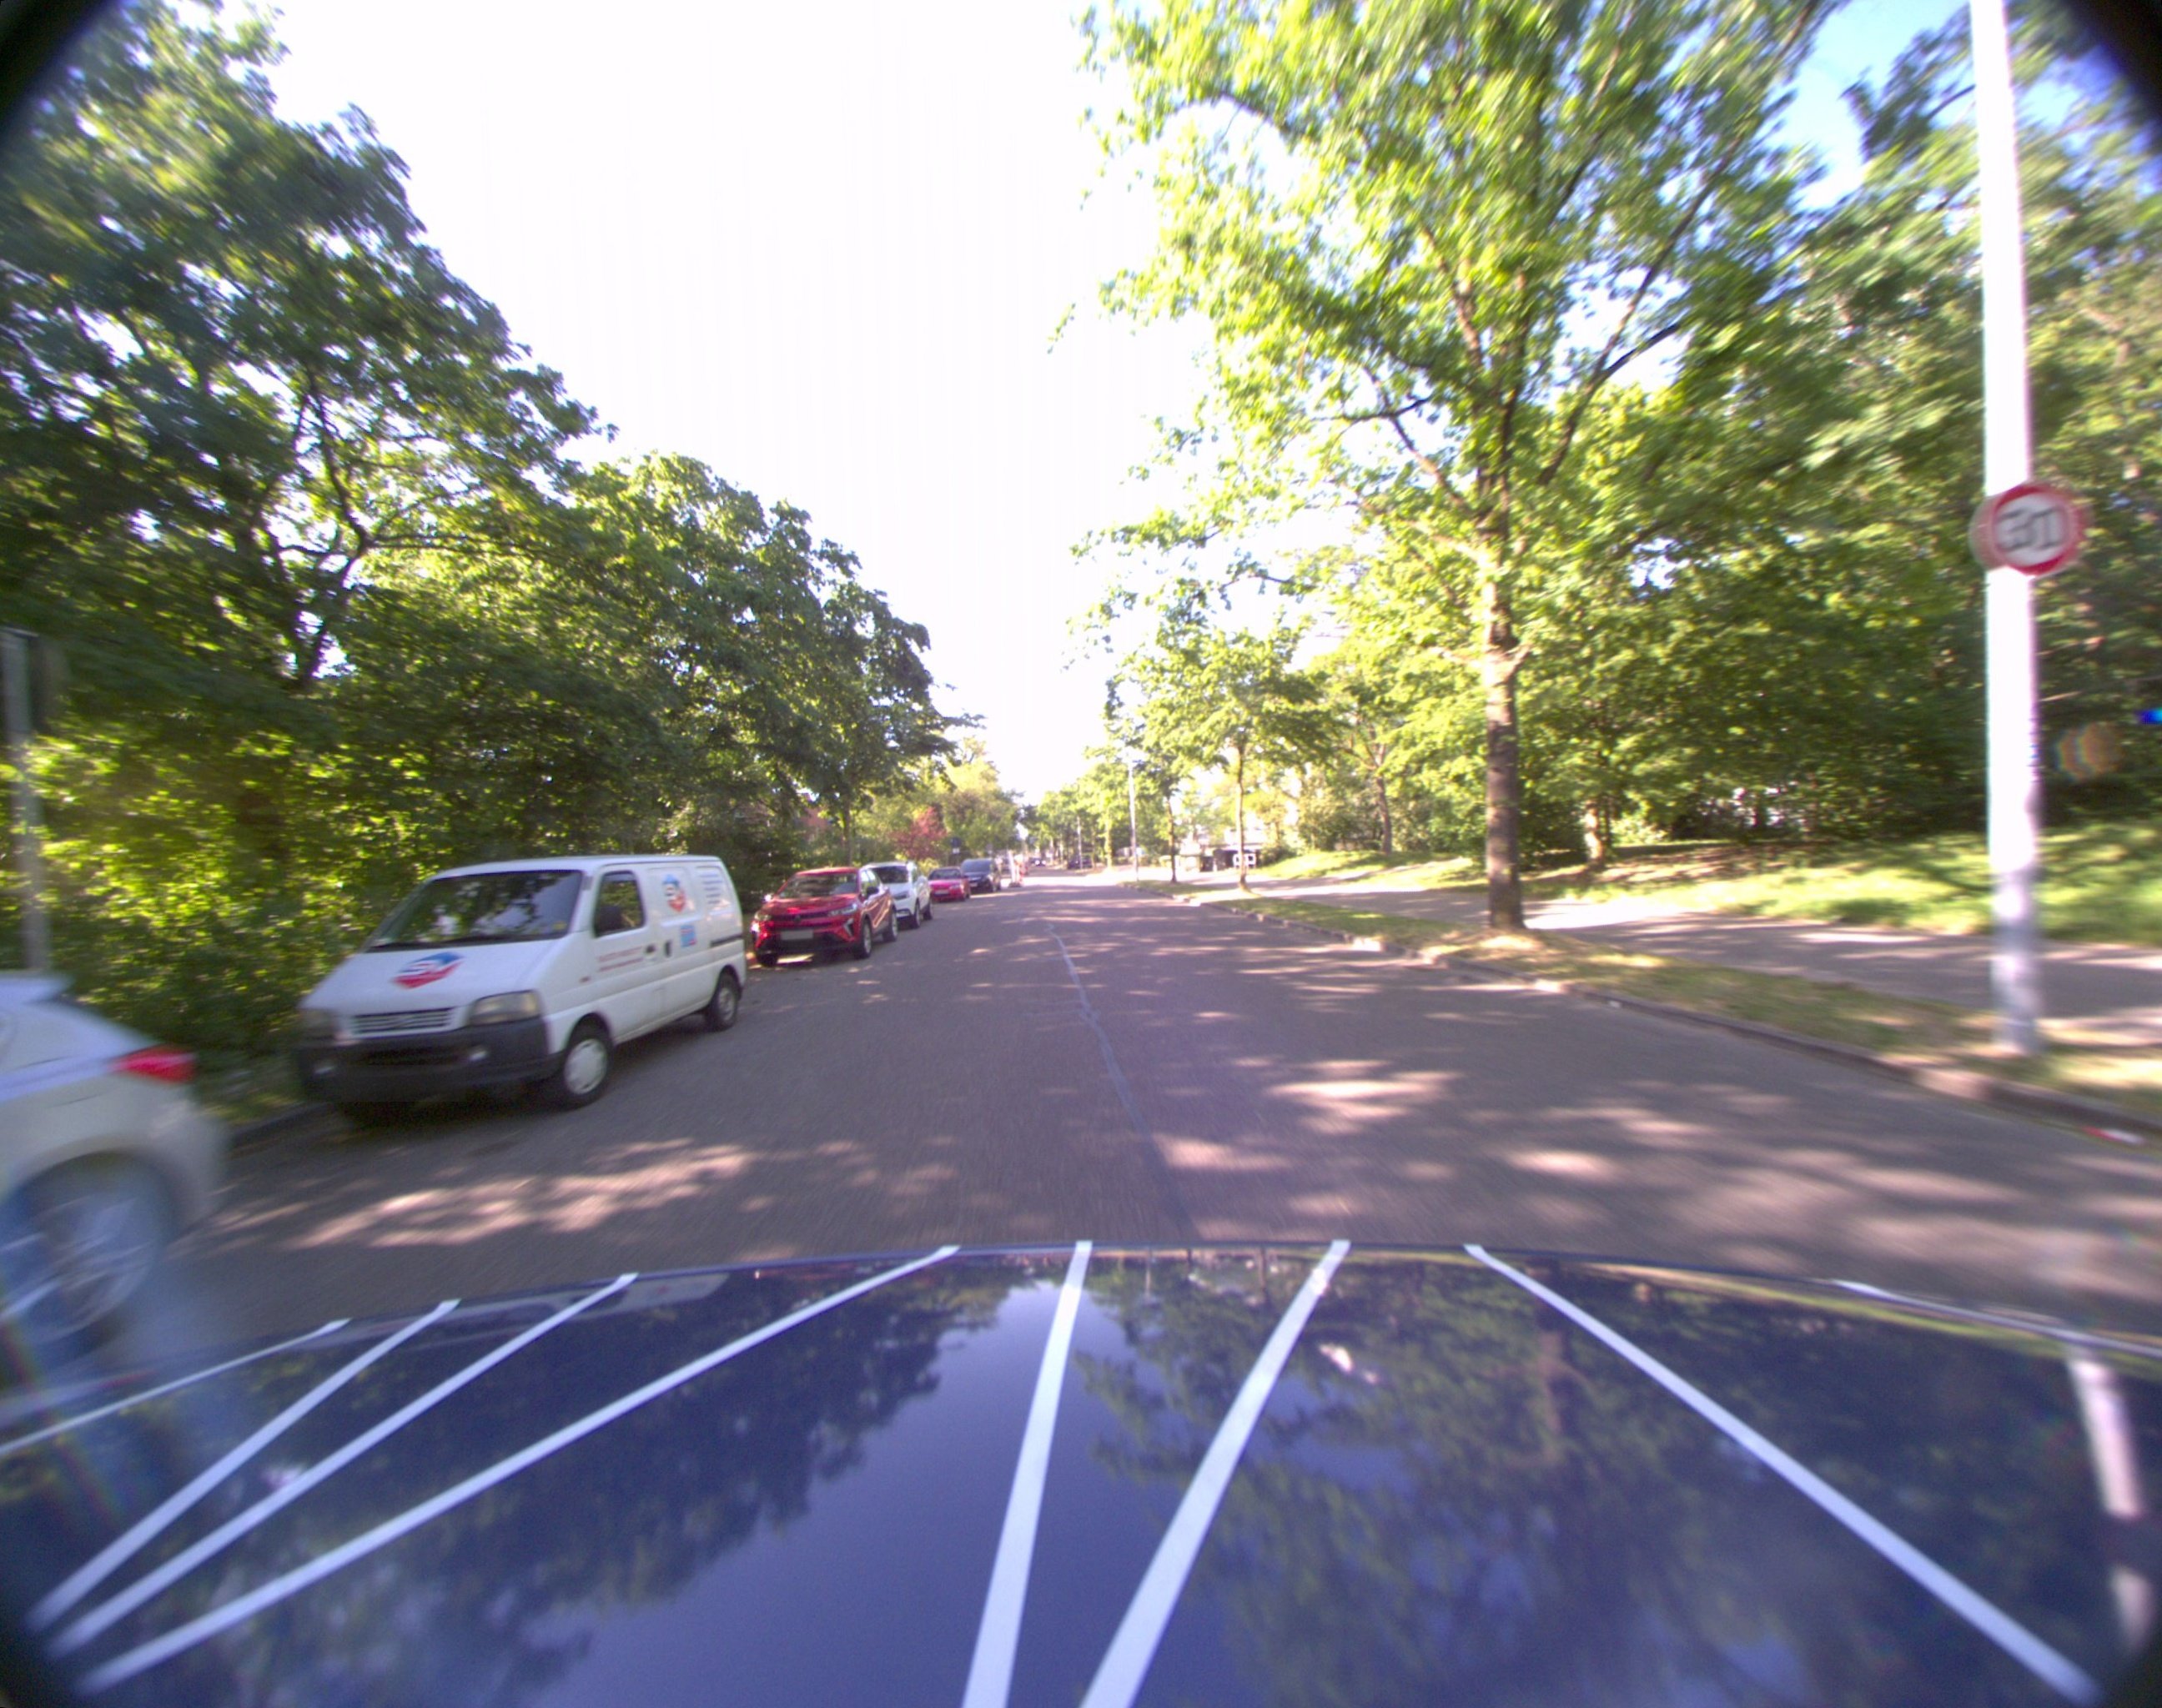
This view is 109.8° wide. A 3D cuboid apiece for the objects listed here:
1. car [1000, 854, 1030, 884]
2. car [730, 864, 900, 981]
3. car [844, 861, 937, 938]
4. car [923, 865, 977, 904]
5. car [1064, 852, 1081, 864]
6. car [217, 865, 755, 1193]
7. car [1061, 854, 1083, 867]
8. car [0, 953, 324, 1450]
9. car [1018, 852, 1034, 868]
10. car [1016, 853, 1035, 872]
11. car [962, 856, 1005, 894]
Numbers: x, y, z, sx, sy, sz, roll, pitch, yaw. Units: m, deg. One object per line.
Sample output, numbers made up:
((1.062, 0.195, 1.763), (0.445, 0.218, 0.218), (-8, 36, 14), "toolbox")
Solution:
((-3.948, 0.871, 46.064), (1.450, 1.644, 3.719), (-3, 0, -1), "car")
((-4.513, 1.080, 13.517), (1.773, 1.629, 3.752), (-3, 0, -3), "car")
((-4.691, 1.057, 19.185), (1.500, 1.629, 3.752), (-3, 0, -3), "car")
((-5.195, 1.178, 30.442), (1.500, 1.351, 3.466), (-3, 0, -1), "car")
((-1.269, 0.596, 109.842), (1.999, 1.574, 3.998), (-2, 1, -5), "car")
((-4.238, 1.032, 6.296), (1.500, 1.744, 3.800), (-3, 0, -3), "car")
((-1.081, 0.716, 89.612), (2.000, 1.359, 3.996), (-2, 1, -9), "car")
((-4.245, 1.213, 1.105), (1.723, 1.436, 4.613), (-4, 0, -3), "car")
((-6.036, 0.610, 83.507), (1.422, 1.644, 3.909), (-3, 0, -1), "car")
((-5.100, 0.773, 70.087), (1.422, 1.644, 3.909), (-3, 0, -1), "car")
((-4.635, 0.970, 36.714), (1.500, 1.644, 4.091), (-3, 0, -1), "car")
